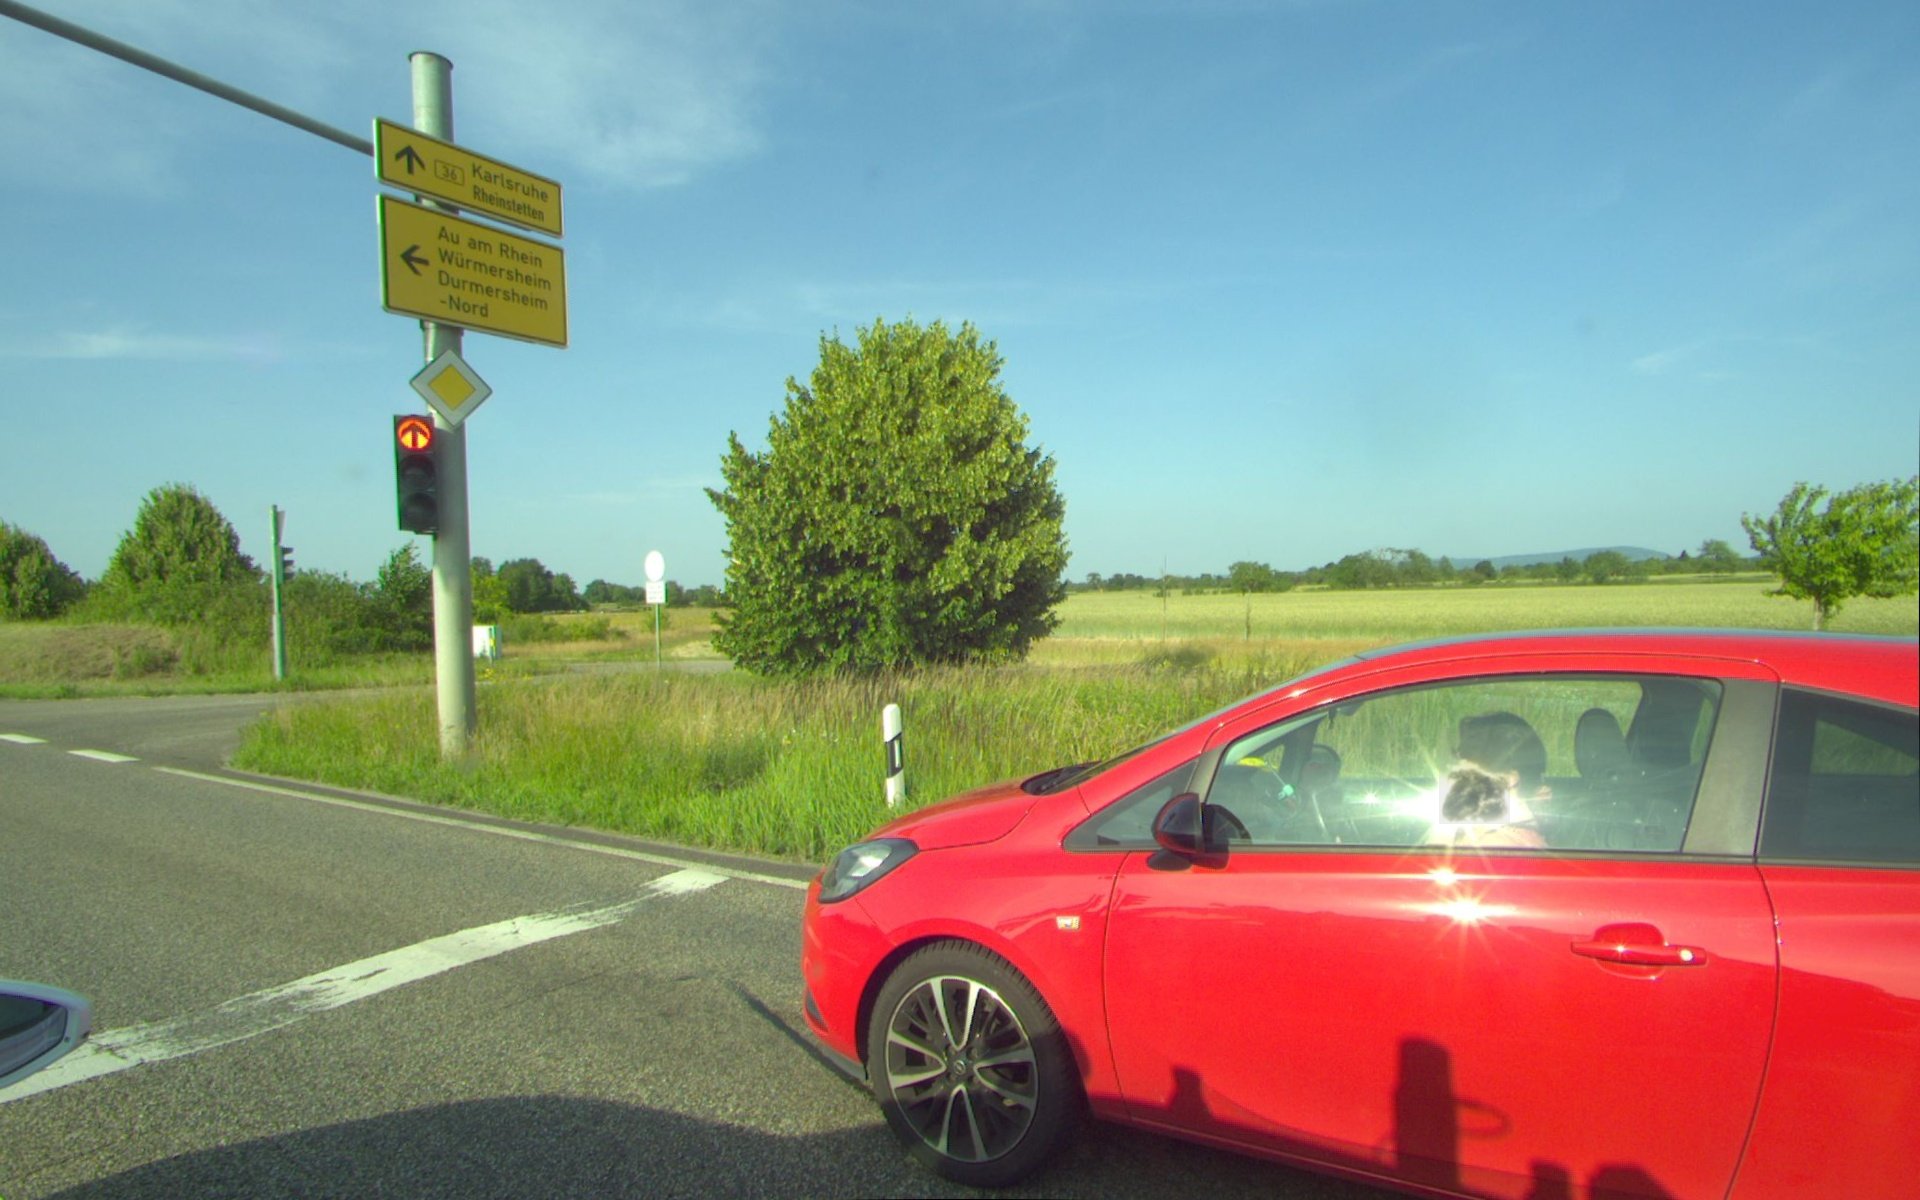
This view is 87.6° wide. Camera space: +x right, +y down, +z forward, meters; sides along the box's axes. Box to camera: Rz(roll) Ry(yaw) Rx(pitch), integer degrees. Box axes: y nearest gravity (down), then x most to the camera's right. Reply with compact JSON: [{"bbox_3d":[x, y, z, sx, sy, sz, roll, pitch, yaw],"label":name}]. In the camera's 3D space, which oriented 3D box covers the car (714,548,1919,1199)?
[{"bbox_3d":[1.287,0.712,2.839,3.693,1.569,1.695,-1,0,29],"label":"car"}]
